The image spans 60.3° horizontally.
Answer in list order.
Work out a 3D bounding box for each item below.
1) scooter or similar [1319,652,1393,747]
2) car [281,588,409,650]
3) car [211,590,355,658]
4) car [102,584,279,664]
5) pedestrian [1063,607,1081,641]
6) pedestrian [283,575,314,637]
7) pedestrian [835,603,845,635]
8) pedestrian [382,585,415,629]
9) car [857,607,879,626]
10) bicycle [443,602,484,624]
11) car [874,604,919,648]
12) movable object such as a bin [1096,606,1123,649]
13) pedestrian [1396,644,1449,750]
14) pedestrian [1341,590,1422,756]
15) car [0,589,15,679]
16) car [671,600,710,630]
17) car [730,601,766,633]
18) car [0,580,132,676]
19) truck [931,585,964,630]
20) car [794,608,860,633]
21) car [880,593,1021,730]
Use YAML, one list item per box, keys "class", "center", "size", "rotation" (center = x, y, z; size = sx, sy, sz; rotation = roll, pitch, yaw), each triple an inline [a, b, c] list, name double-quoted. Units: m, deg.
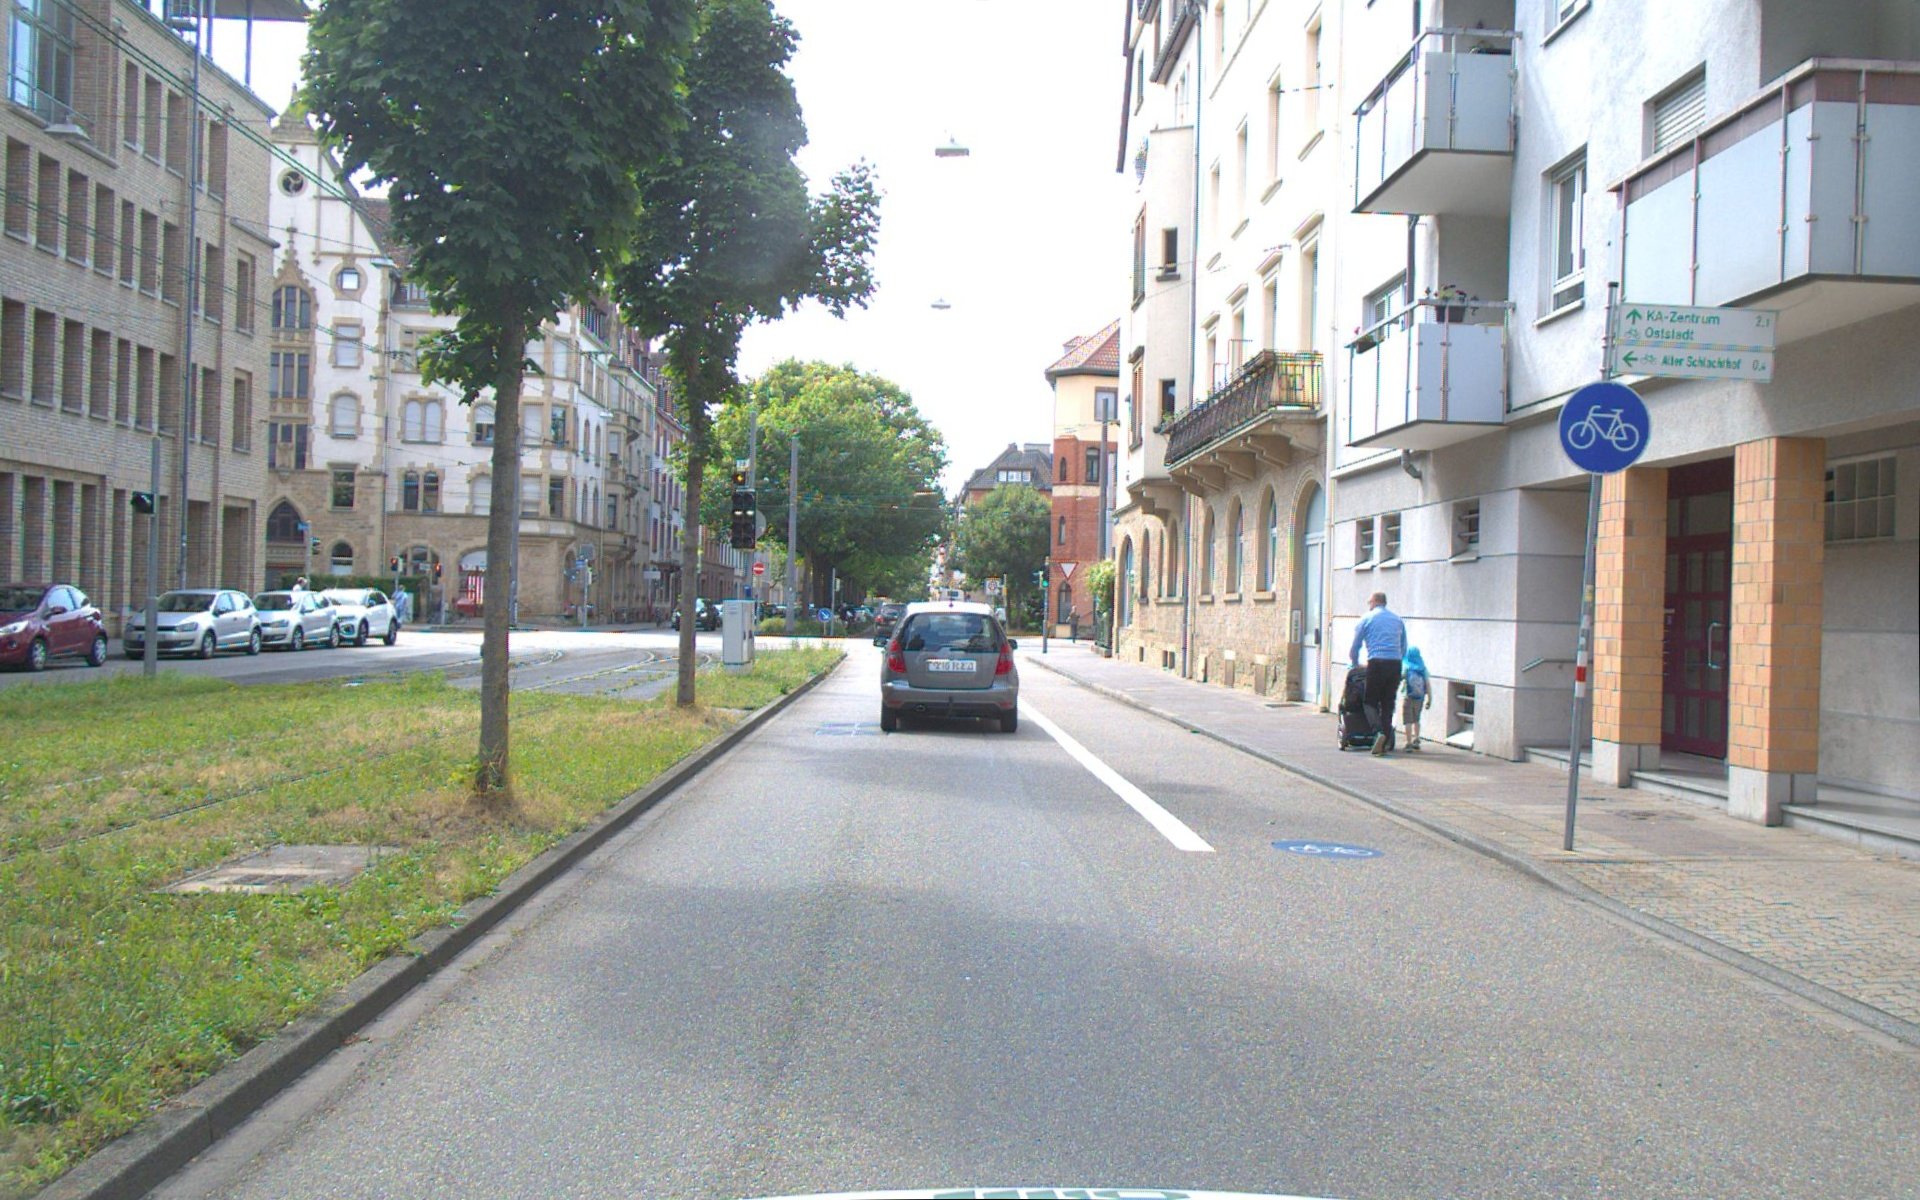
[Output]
- class: "scooter or similar"
  center: [4.560, 1.137, 19.085]
  size: [0.580, 1.019, 0.905]
  rotation: [-3, 0, -1]
- class: "car"
  center: [-16.752, 0.502, 45.248]
  size: [1.893, 1.562, 4.257]
  rotation: [1, 0, 0]
- class: "car"
  center: [-16.666, 0.580, 40.928]
  size: [1.893, 1.557, 4.014]
  rotation: [1, 0, 0]
- class: "car"
  center: [-16.387, 0.494, 35.474]
  size: [1.813, 1.557, 4.209]
  rotation: [1, 0, 0]
- class: "pedestrian"
  center: [5.638, 1.225, 83.386]
  size: [0.851, 1.685, 0.736]
  rotation: [1, -1, 3]
- class: "pedestrian"
  center: [-20.037, 0.174, 50.091]
  size: [0.751, 1.827, 0.952]
  rotation: [2, -1, -27]
- class: "pedestrian"
  center: [-6.685, 1.039, 92.154]
  size: [0.483, 1.755, 0.653]
  rotation: [2, -1, -6]
- class: "pedestrian"
  center: [-23.175, 0.289, 68.247]
  size: [0.763, 1.752, 1.017]
  rotation: [1, -1, 44]
- class: "car"
  center: [-7.762, 1.400, 139.518]
  size: [1.716, 1.543, 3.498]
  rotation: [2, 0, -1]
- class: "bicycle"
  center: [-25.212, 0.645, 84.001]
  size: [1.882, 1.100, 0.776]
  rotation: [1, -1, -12]
- class: "car"
  center: [-2.586, 1.047, 67.971]
  size: [1.687, 1.736, 3.676]
  rotation: [1, -1, -1]
- class: "movable object such as a bin"
  center: [5.224, 0.953, 57.732]
  size: [0.701, 1.498, 0.980]
  rotation: [1, -1, -10]
- class: "pedestrian"
  center: [5.201, 1.085, 18.630]
  size: [0.447, 1.155, 0.494]
  rotation: [1, -1, -1]
- class: "pedestrian"
  center: [4.636, 0.785, 18.237]
  size: [0.608, 1.769, 0.877]
  rotation: [-1, 0, -1]
- class: "car"
  center: [-16.037, 0.504, 24.274]
  size: [1.893, 1.420, 4.238]
  rotation: [1, 0, 0]
- class: "car"
  center: [-15.270, 0.822, 93.964]
  size: [1.955, 1.646, 3.994]
  rotation: [1, -1, -7]
- class: "car"
  center: [-12.210, 0.965, 95.534]
  size: [1.955, 1.758, 3.994]
  rotation: [1, -1, -7]
- class: "car"
  center: [-16.159, 0.454, 28.924]
  size: [1.550, 1.557, 3.549]
  rotation: [1, 0, 0]
- class: "truck"
  center: [-0.862, 0.526, 115.464]
  size: [2.079, 3.022, 4.001]
  rotation: [1, -1, 2]
- class: "car"
  center: [-7.826, 1.201, 96.929]
  size: [1.956, 1.362, 3.942]
  rotation: [2, -1, -40]
- class: "car"
  center: [-0.133, 0.761, 21.878]
  size: [1.687, 1.634, 3.676]
  rotation: [1, -1, -1]
